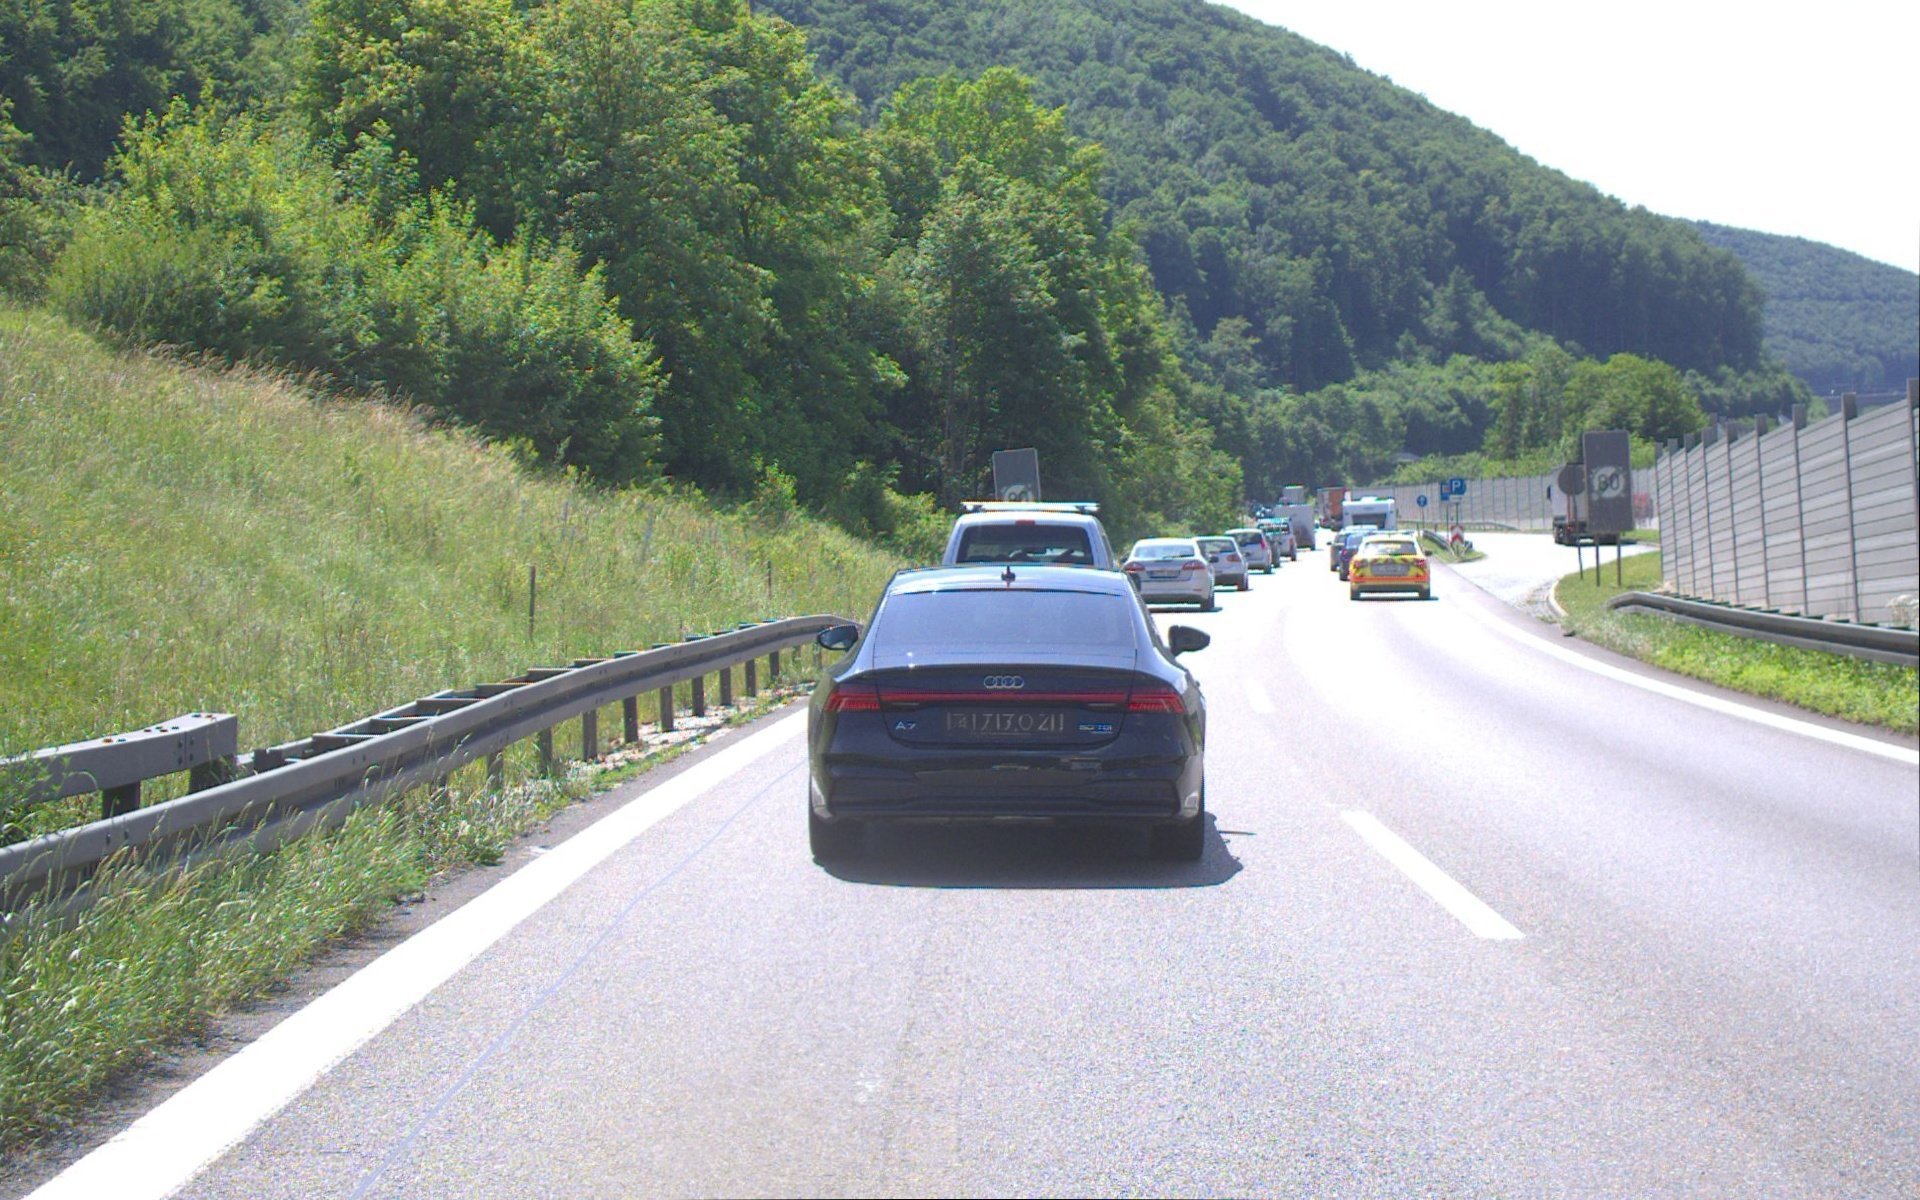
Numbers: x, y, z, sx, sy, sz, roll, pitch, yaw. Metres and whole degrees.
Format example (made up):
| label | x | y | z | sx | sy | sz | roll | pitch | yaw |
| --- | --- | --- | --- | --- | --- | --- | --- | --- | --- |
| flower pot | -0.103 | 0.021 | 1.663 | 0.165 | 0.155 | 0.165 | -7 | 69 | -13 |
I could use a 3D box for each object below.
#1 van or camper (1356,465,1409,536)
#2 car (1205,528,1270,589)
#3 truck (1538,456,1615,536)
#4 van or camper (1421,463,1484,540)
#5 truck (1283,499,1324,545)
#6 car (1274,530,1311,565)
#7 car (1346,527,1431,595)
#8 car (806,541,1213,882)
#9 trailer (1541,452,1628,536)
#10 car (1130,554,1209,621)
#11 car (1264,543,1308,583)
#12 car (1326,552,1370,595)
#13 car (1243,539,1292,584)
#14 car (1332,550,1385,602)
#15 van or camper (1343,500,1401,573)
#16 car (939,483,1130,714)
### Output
| label | x | y | z | sx | sy | sz | roll | pitch | yaw |
| --- | --- | --- | --- | --- | --- | --- | --- | --- | --- |
| van or camper | 24.188 | -5.683 | 197.030 | 2.795 | 3.894 | 6.166 | 1 | 1 | 5 |
| car | 7.440 | -1.112 | 91.957 | 1.521 | 1.547 | 3.513 | 2 | 1 | 7 |
| truck | 31.008 | -5.213 | 173.064 | 3.412 | 3.887 | 5.386 | 0 | 1 | 7 |
| van or camper | 25.457 | -5.074 | 177.919 | 2.795 | 3.828 | 6.166 | 1 | 1 | 5 |
| truck | 20.202 | -4.553 | 201.988 | 2.065 | 2.596 | 5.612 | 2 | 1 | 9 |
| car | 15.429 | -2.434 | 159.523 | 1.521 | 1.547 | 3.513 | 2 | 1 | 8 |
| car | 9.778 | -0.911 | 78.444 | 1.879 | 1.493 | 3.999 | -1 | 1 | 7 |
| car | 0.201 | 0.468 | 17.082 | 1.812 | 1.509 | 3.514 | 0 | 1 | -1 |
| trailer | 30.390 | -5.135 | 167.745 | 3.412 | 3.887 | 11.149 | 0 | 1 | 7 |
| car | 4.287 | -0.276 | 69.998 | 1.521 | 1.290 | 3.514 | 2 | 1 | 4 |
| car | 13.268 | -1.506 | 139.714 | 1.521 | 1.547 | 3.513 | 2 | 1 | 9 |
| car | 14.024 | -0.957 | 124.056 | 1.530 | 1.520 | 3.596 | 1 | 1 | 7 |
| car | 11.001 | -1.367 | 122.843 | 1.521 | 1.547 | 3.513 | 2 | 1 | 8 |
| car | 11.921 | -0.725 | 102.789 | 1.530 | 1.520 | 3.596 | 1 | 1 | 7 |
| van or camper | 18.164 | -2.782 | 151.525 | 2.430 | 3.144 | 5.202 | 1 | 1 | 7 |
| car | 0.731 | -0.041 | 31.617 | 1.521 | 1.961 | 3.514 | 2 | 1 | 4 |
